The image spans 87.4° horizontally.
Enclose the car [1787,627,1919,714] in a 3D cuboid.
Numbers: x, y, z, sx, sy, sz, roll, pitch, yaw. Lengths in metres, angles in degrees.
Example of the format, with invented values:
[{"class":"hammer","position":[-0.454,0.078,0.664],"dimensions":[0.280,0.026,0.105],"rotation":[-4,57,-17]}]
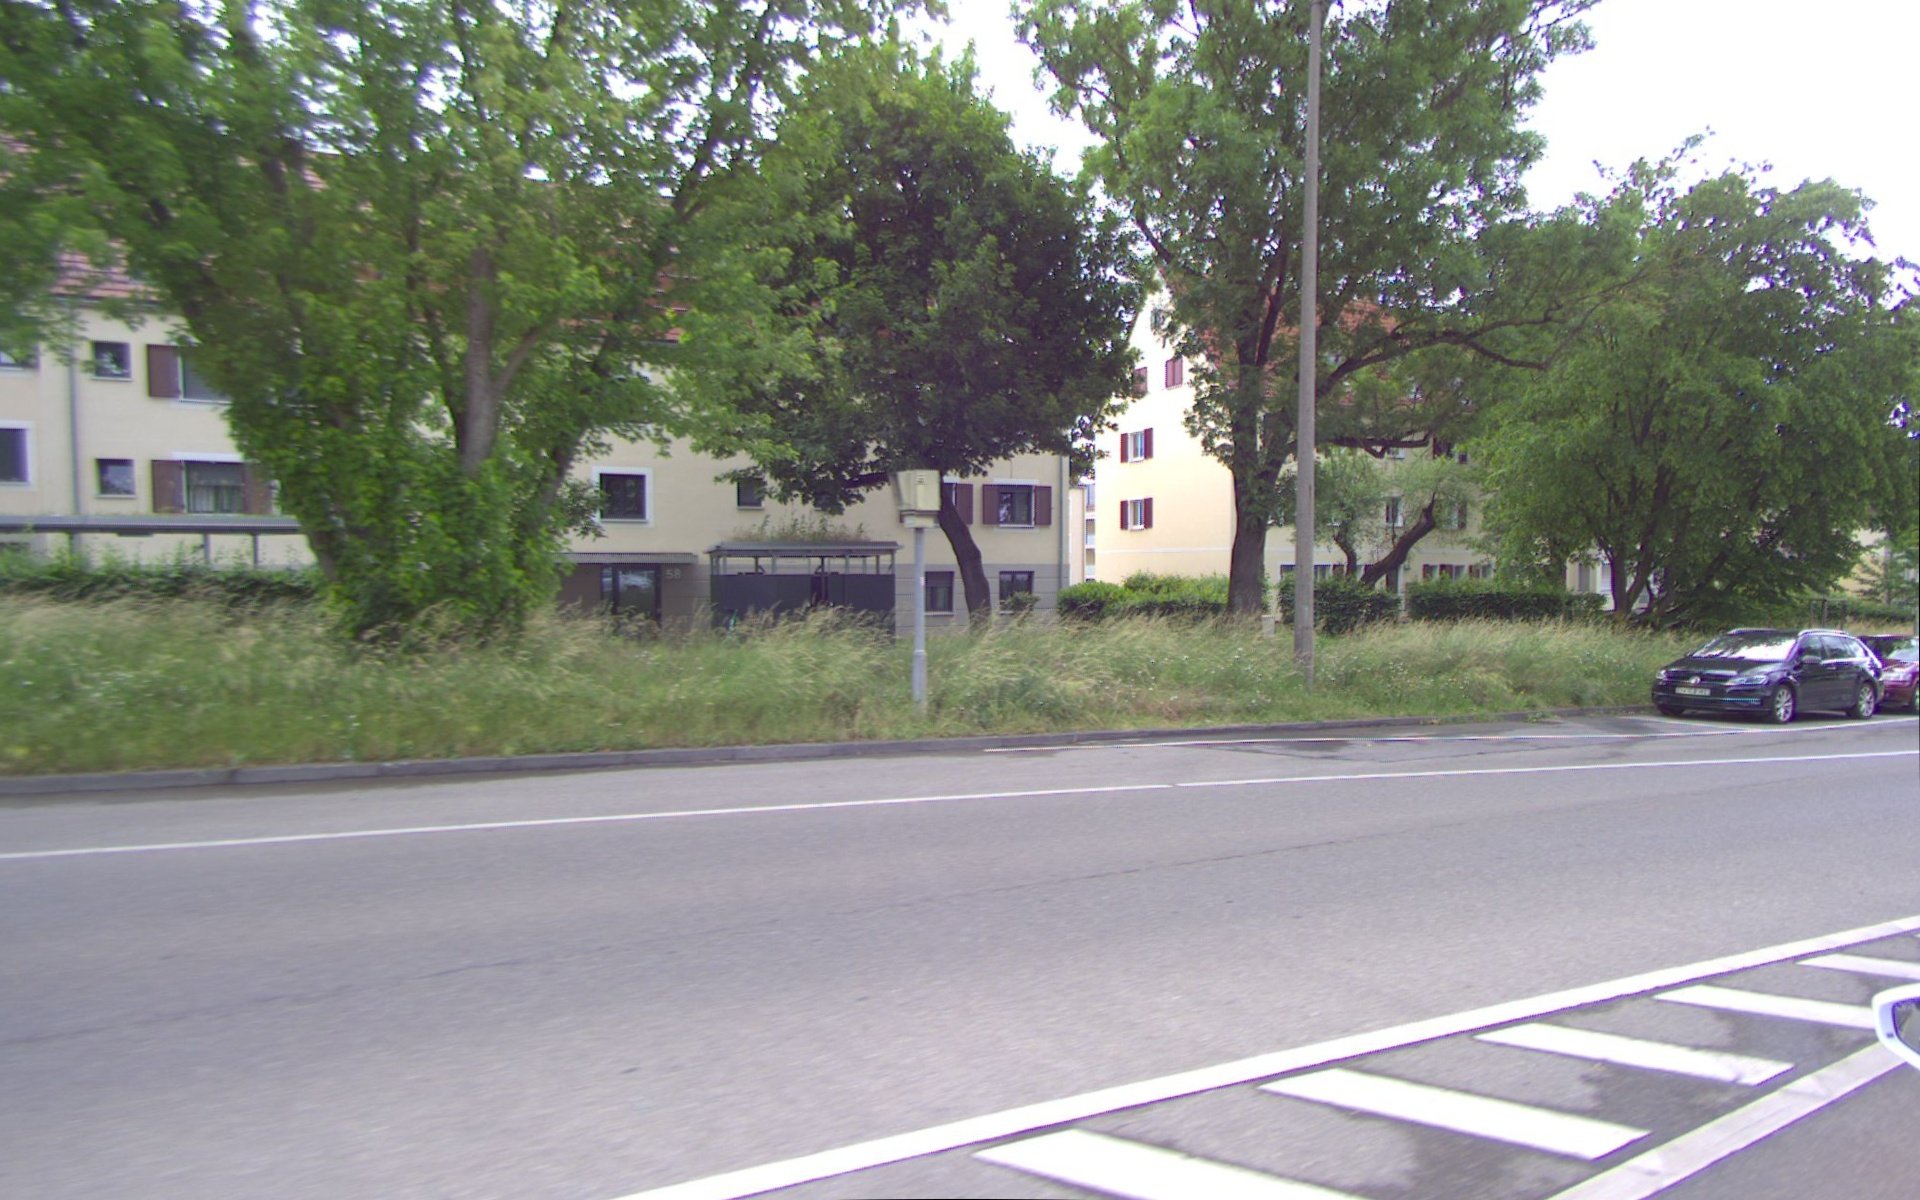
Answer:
[{"class":"car","position":[17.954,1.303,19.353],"dimensions":[4.099,1.467,1.760],"rotation":[1,0,-29]}]

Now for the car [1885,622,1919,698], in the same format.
[{"class":"car","position":[22.303,1.334,22.186],"dimensions":[4.089,1.613,1.758],"rotation":[1,0,-32]}]

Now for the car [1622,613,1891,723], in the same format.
[{"class":"car","position":[13.394,1.088,16.846],"dimensions":[4.593,1.591,1.867],"rotation":[2,0,-28]}]
